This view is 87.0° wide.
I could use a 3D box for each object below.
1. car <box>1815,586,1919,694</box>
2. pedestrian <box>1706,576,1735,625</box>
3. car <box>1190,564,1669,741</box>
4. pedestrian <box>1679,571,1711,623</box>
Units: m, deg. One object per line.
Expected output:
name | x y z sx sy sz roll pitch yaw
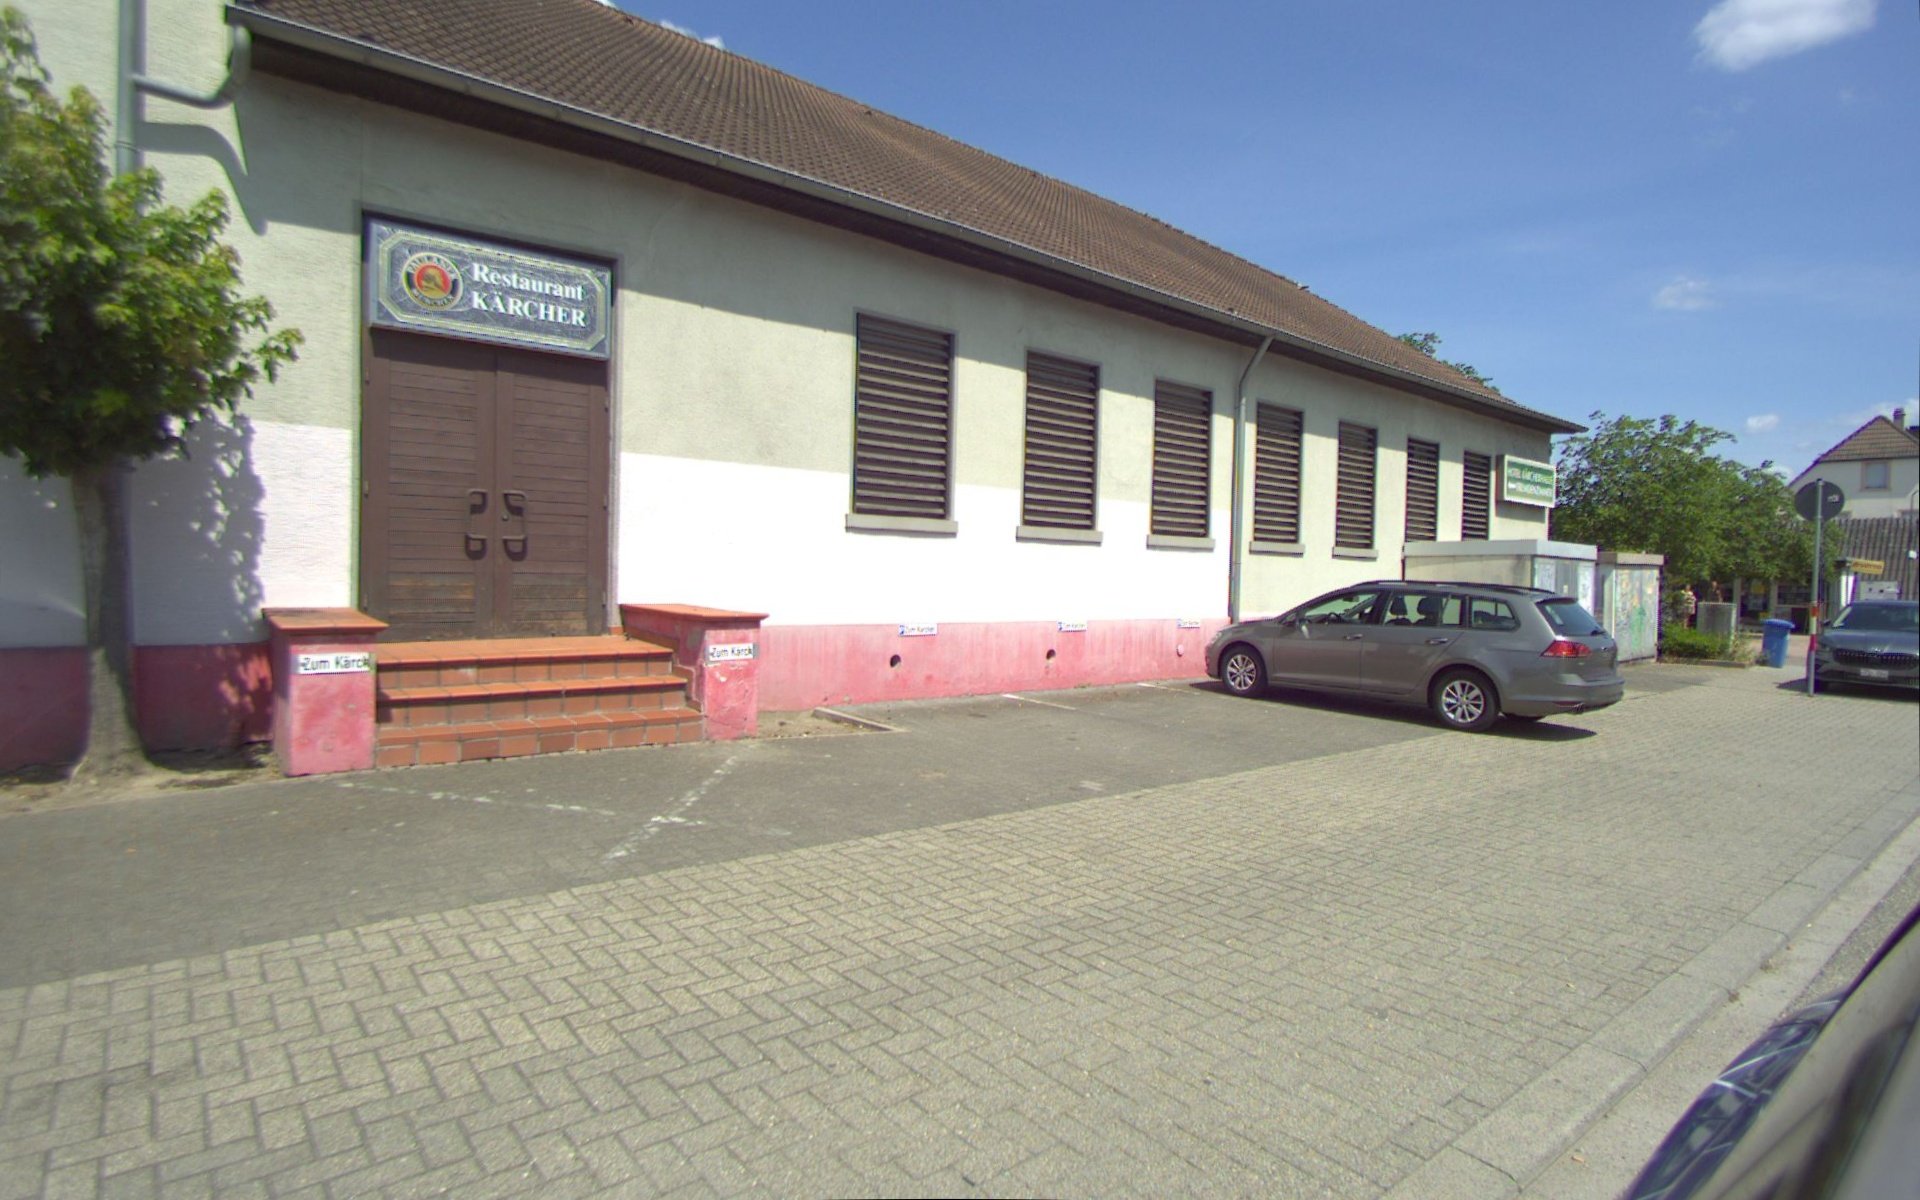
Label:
car | 15.074 0.572 16.120 4.068 1.507 1.630 0 2 -42
pedestrian | 27.066 0.008 36.021 0.587 1.741 0.464 1 1 1
car | 5.051 0.406 11.485 1.884 1.472 4.538 0 3 -39
pedestrian | 26.165 -0.115 36.037 0.668 1.811 0.549 1 1 1
